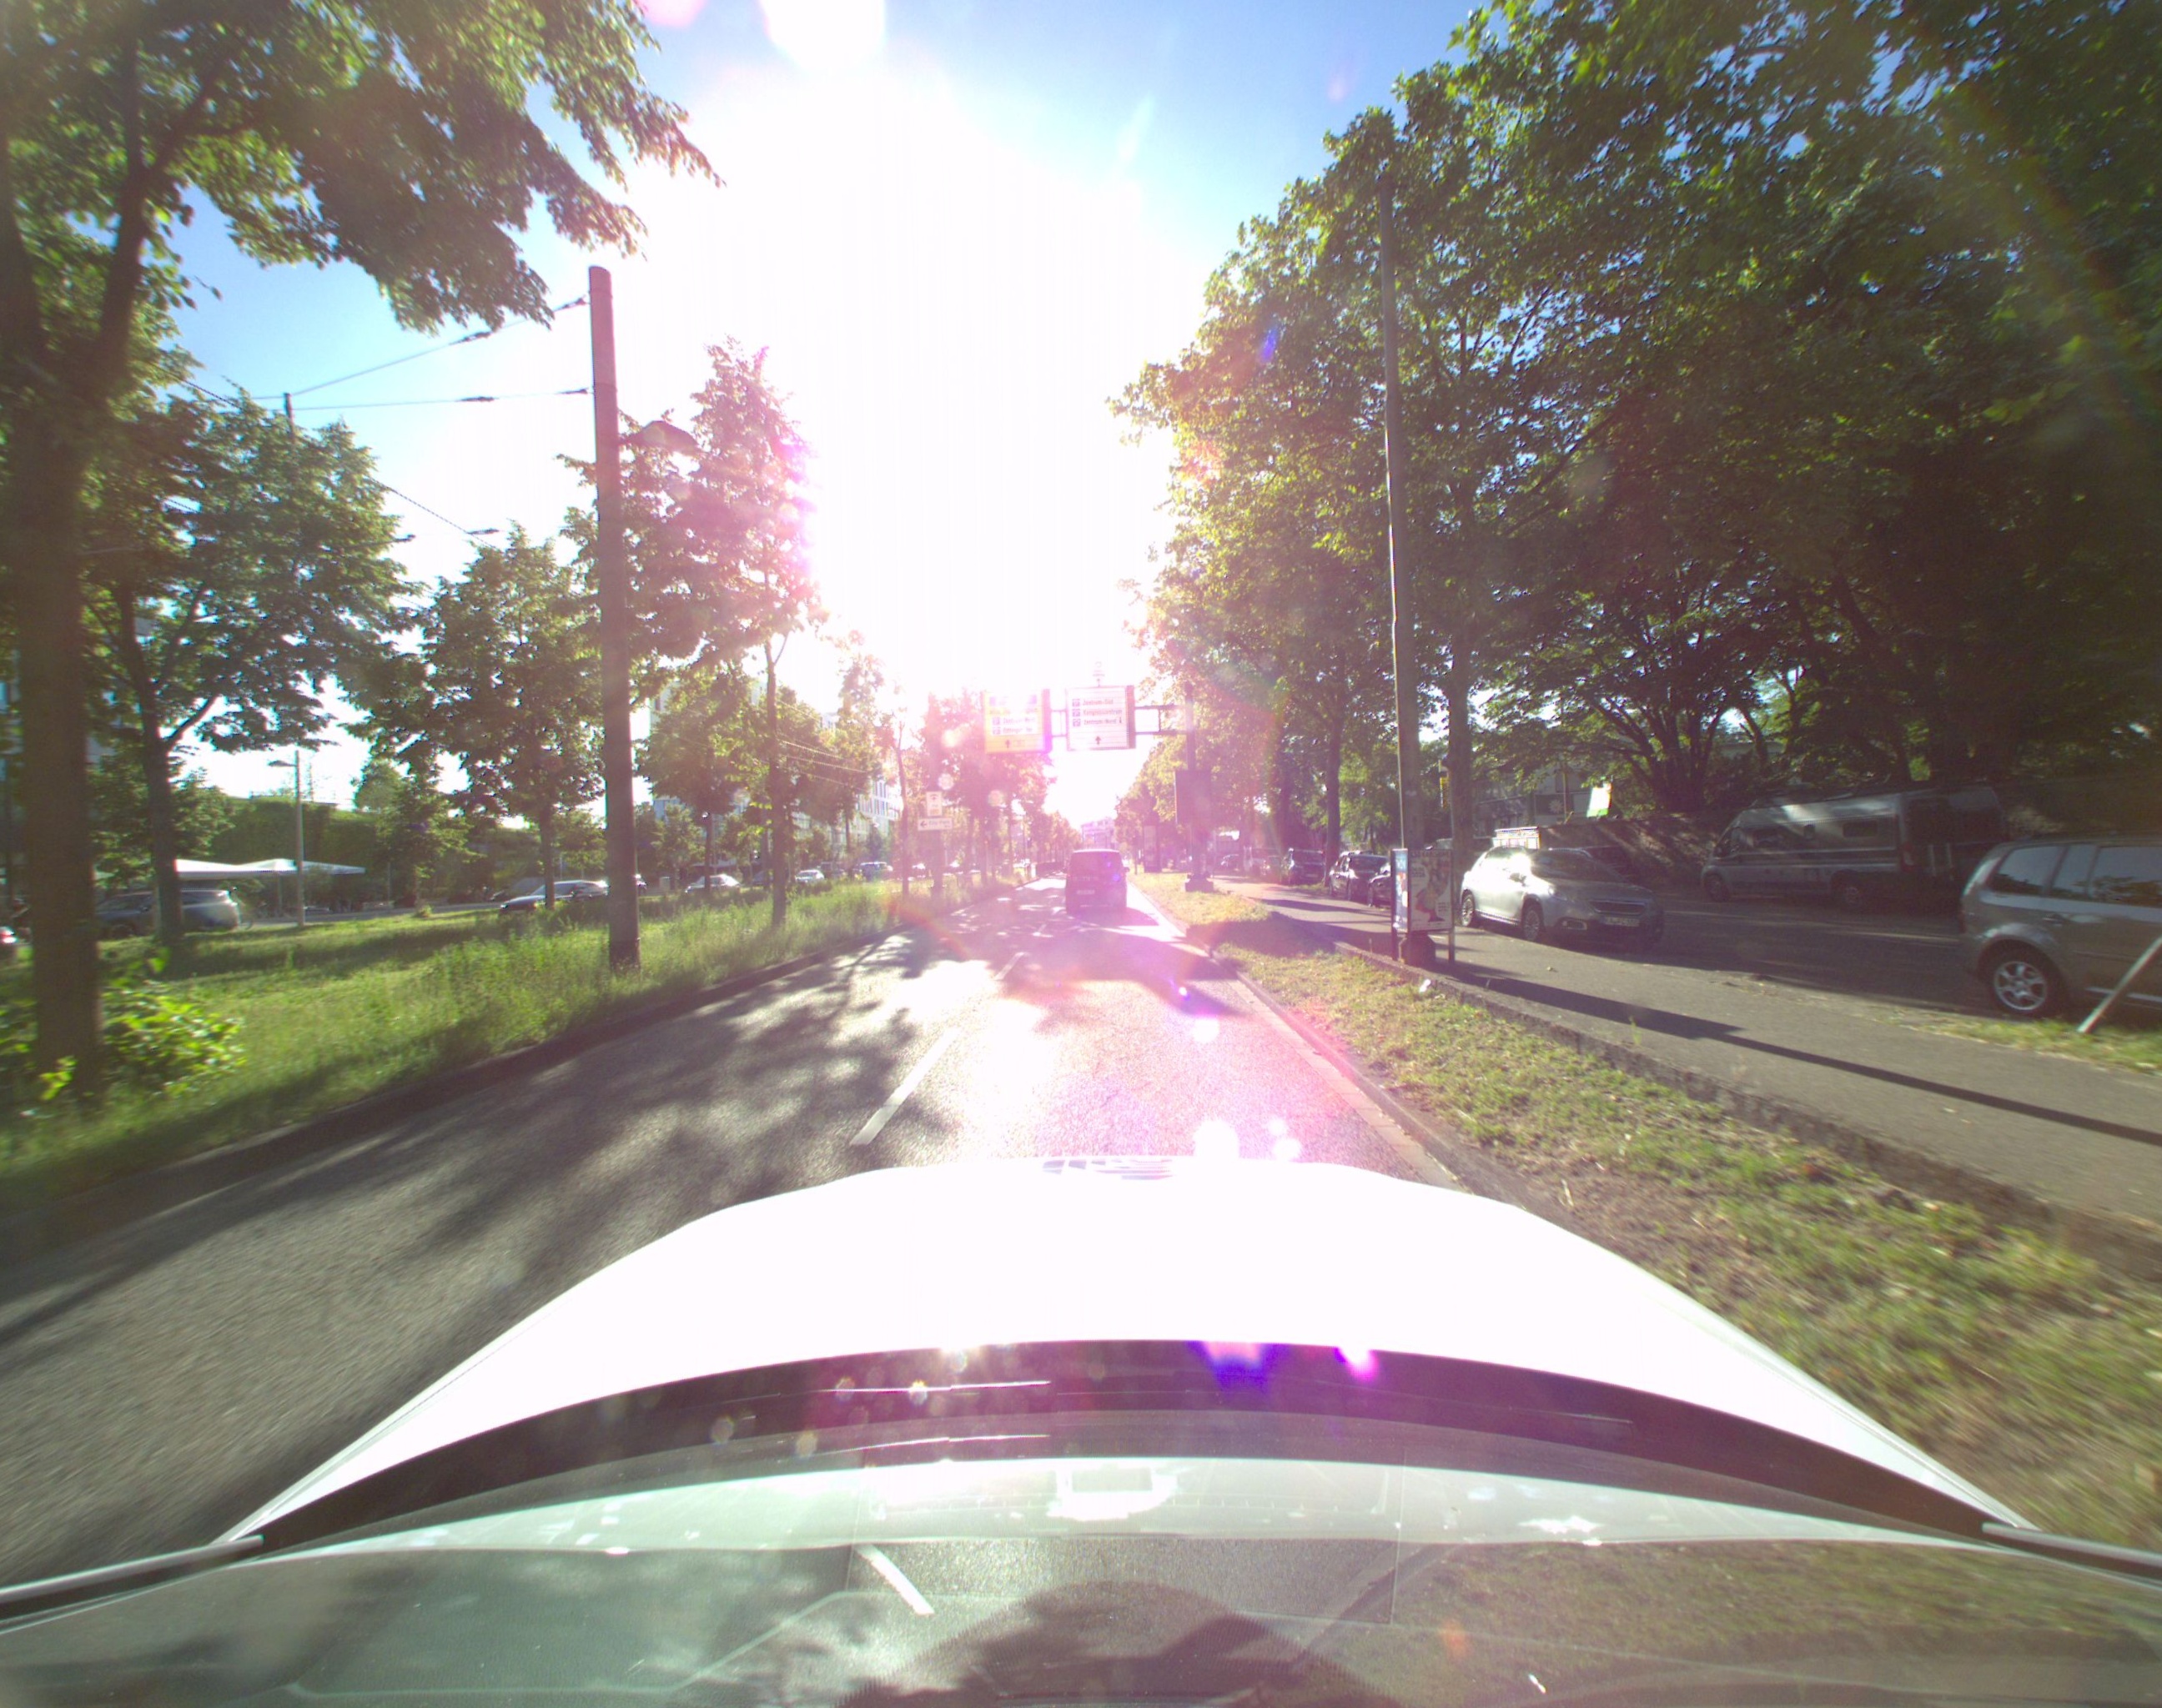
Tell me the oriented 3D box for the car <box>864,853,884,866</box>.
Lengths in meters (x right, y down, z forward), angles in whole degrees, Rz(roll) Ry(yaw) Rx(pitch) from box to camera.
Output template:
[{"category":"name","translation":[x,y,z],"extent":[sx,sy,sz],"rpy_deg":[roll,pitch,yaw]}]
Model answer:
[{"category":"car","translation":[-34.206,0.885,134.795],"extent":[1.985,2.014,4.566],"rpy_deg":[-1,-1,3]}]

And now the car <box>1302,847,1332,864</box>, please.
[{"category":"car","translation":[23.538,0.153,81.347],"extent":[1.985,1.640,4.003],"rpy_deg":[-1,-1,3]}]

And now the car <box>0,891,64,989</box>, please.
[{"category":"car","translation":[-21.939,1.720,14.075],"extent":[1.986,1.841,5.252],"rpy_deg":[-2,0,2]}]

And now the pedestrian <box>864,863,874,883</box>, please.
[{"category":"pedestrian","translation":[-15.711,1.408,60.333],"extent":[0.540,1.497,0.604],"rpy_deg":[-1,-1,5]}]

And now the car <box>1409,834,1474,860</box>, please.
[{"category":"car","translation":[27.076,-0.507,61.235],"extent":[4.067,1.851,1.850],"rpy_deg":[-1,-1,2]}]

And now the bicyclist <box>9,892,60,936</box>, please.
[{"category":"bicyclist","translation":[-34.973,1.995,27.236],"extent":[0.428,1.419,0.956],"rpy_deg":[-1,-1,3]}]

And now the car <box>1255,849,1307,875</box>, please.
[{"category":"car","translation":[10.916,0.442,44.706],"extent":[1.985,1.290,4.055],"rpy_deg":[-1,-1,3]}]

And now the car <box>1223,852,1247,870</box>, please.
[{"category":"car","translation":[12.871,0.573,68.100],"extent":[1.654,1.500,2.992],"rpy_deg":[-1,-1,4]}]

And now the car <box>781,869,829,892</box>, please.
[{"category":"car","translation":[-21.256,2.005,62.870],"extent":[1.984,1.571,4.171],"rpy_deg":[-2,0,4]}]

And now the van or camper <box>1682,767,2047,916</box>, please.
[{"category":"van or camper","translation":[17.525,-0.250,19.006],"extent":[2.543,2.684,6.576],"rpy_deg":[-4,0,6]}]

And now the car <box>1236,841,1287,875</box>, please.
[{"category":"car","translation":[11.171,0.274,50.873],"extent":[2.181,2.014,5.824],"rpy_deg":[-1,-1,3]}]

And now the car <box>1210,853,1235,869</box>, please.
[{"category":"car","translation":[12.715,0.604,73.524],"extent":[1.988,1.384,4.754],"rpy_deg":[-1,-1,7]}]

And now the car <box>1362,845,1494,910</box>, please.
[{"category":"car","translation":[8.443,0.552,20.191],"extent":[1.785,1.438,3.887],"rpy_deg":[-1,-1,3]}]

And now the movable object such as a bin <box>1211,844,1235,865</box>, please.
[{"category":"movable object such as a bin","translation":[13.748,0.037,79.014],"extent":[2.071,2.014,2.139],"rpy_deg":[-1,-1,5]}]

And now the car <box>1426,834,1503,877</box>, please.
[{"category":"car","translation":[19.721,0.082,42.165],"extent":[2.076,2.014,4.951],"rpy_deg":[-2,0,6]}]

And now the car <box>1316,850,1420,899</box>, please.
[{"category":"car","translation":[8.947,0.604,25.811],"extent":[1.984,1.381,4.683],"rpy_deg":[0,0,5]}]

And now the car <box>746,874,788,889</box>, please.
[{"category":"car","translation":[-29.411,2.535,76.434],"extent":[1.905,1.325,4.613],"rpy_deg":[-1,-1,3]}]

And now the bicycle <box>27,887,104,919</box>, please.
[{"category":"bicycle","translation":[-35.853,1.716,28.789],"extent":[0.377,1.017,1.801],"rpy_deg":[-1,-1,3]}]

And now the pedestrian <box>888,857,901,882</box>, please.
[{"category":"pedestrian","translation":[-13.968,1.184,60.989],"extent":[0.818,1.836,0.726],"rpy_deg":[-1,-1,-1]}]

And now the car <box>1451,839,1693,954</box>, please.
[{"category":"car","translation":[7.712,0.605,13.305],"extent":[1.785,1.560,4.025],"rpy_deg":[1,-1,5]}]

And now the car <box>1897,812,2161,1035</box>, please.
[{"category":"car","translation":[8.809,0.499,5.749],"extent":[1.784,1.634,4.634],"rpy_deg":[-1,-1,6]}]

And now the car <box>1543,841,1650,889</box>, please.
[{"category":"car","translation":[18.177,0.380,28.931],"extent":[1.681,1.472,3.765],"rpy_deg":[-4,-1,7]}]

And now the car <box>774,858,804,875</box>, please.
[{"category":"car","translation":[-36.457,1.542,101.805],"extent":[1.985,2.014,4.566],"rpy_deg":[0,-1,3]}]

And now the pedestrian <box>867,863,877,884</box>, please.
[{"category":"pedestrian","translation":[-15.288,1.403,59.566],"extent":[0.547,1.518,0.589],"rpy_deg":[-1,-1,6]}]

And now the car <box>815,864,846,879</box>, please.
[{"category":"car","translation":[-28.695,1.948,93.422],"extent":[1.985,1.672,4.613],"rpy_deg":[-1,-1,3]}]

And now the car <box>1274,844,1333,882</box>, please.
[{"category":"car","translation":[10.147,0.414,37.457],"extent":[1.729,1.642,4.356],"rpy_deg":[-1,-1,3]}]

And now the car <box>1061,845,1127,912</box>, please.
[{"category":"car","translation":[0.311,0.697,24.404],"extent":[1.803,1.838,3.997],"rpy_deg":[-1,-1,-1]}]

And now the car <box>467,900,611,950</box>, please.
[{"category":"car","translation":[-19.367,2.488,29.370],"extent":[1.985,1.441,4.460],"rpy_deg":[-1,-1,4]}]

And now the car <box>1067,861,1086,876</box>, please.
[{"category":"car","translation":[-0.490,1.604,91.556],"extent":[1.986,1.618,4.001],"rpy_deg":[-1,-1,2]}]

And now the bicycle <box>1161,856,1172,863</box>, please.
[{"category":"bicycle","translation":[15.392,0.935,147.088],"extent":[1.910,1.268,0.479],"rpy_deg":[-2,0,2]}]

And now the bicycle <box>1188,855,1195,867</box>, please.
[{"category":"bicycle","translation":[9.857,0.654,72.653],"extent":[0.491,1.046,1.905],"rpy_deg":[-1,-1,3]}]

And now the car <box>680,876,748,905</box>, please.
[{"category":"car","translation":[-21.488,2.087,47.896],"extent":[1.986,1.528,4.320],"rpy_deg":[-1,-1,1]}]

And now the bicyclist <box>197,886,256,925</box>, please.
[{"category":"bicyclist","translation":[-32.930,1.970,31.407],"extent":[0.487,1.406,1.661],"rpy_deg":[-1,-1,1]}]

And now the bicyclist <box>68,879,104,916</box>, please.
[{"category":"bicyclist","translation":[-35.826,1.573,29.333],"extent":[0.366,1.303,0.719],"rpy_deg":[-1,-1,3]}]

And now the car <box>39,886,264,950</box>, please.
[{"category":"car","translation":[-30.569,2.030,27.074],"extent":[1.988,1.772,4.774],"rpy_deg":[-1,-1,-1]}]
